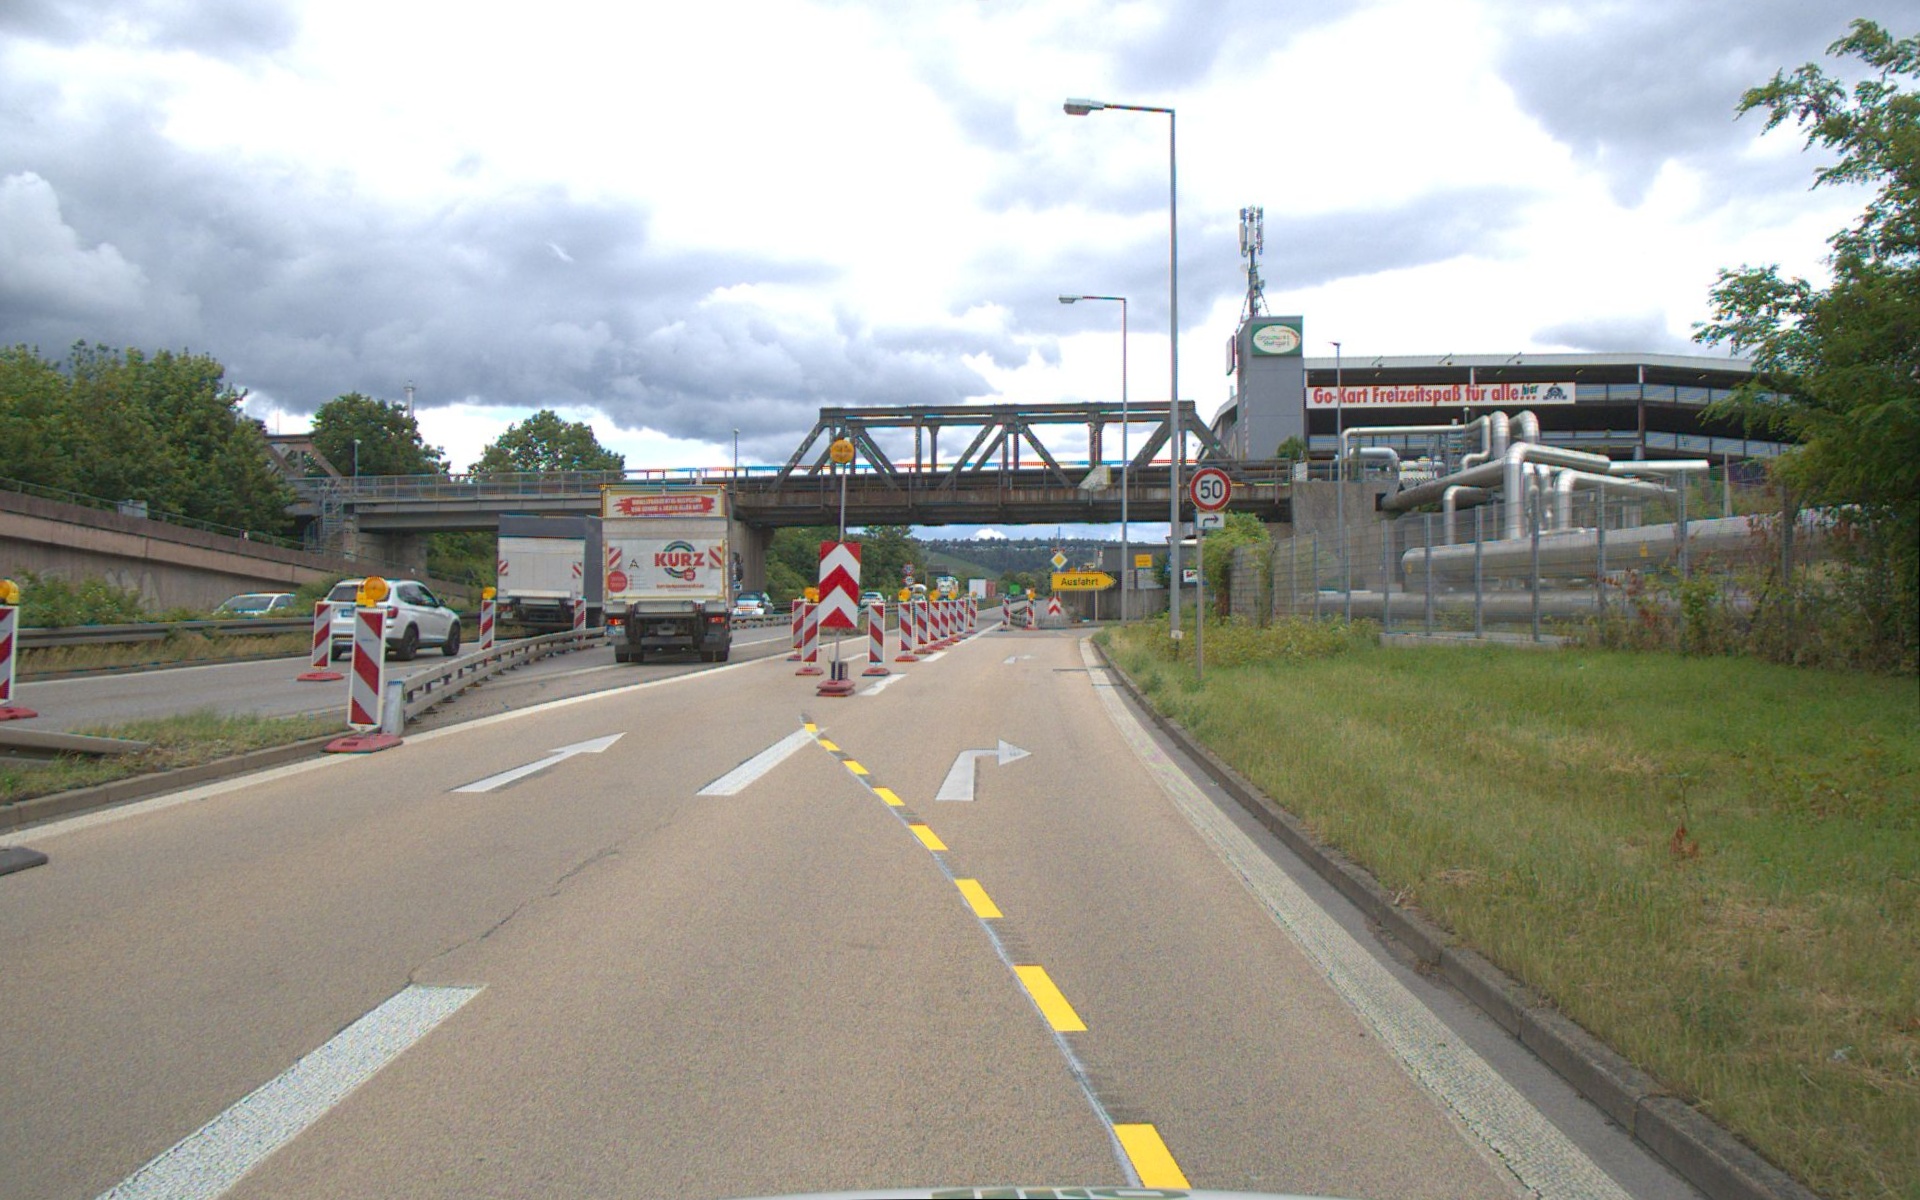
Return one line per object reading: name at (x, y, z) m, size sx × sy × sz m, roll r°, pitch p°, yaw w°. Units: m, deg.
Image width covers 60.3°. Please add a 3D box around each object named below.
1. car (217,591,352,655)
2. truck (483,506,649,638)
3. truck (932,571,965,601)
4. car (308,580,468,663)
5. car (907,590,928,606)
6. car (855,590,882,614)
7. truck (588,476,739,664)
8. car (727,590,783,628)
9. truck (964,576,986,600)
car at (-18.550, 0.625, 45.607) m, size 1.815 × 1.669 × 4.293 m, roll 0°, pitch 0°, yaw 2°
truck at (-11.657, -0.761, 49.738) m, size 2.932 × 3.619 × 7.741 m, roll -1°, pitch 0°, yaw 1°
truck at (-1.463, -1.791, 212.277) m, size 3.642 × 3.709 × 7.731 m, roll 0°, pitch 0°, yaw 4°
car at (-12.293, 0.451, 35.853) m, size 1.815 × 1.669 × 4.293 m, roll 0°, pitch 0°, yaw 2°
car at (-4.367, -0.182, 170.792) m, size 1.742 × 1.624 × 3.751 m, roll 0°, pitch 0°, yaw 4°
car at (-7.157, 0.119, 130.052) m, size 1.953 × 1.847 × 4.000 m, roll 0°, pitch 0°, yaw -1°
truck at (-6.527, -0.555, 37.746) m, size 2.897 × 3.693 × 10.136 m, roll 0°, pitch 0°, yaw -8°
car at (-9.948, 0.432, 80.457) m, size 1.951 × 1.790 × 4.002 m, roll -1°, pitch 0°, yaw 4°
truck at (2.150, -1.689, 231.816) m, size 2.625 × 3.195 × 6.135 m, roll 1°, pitch 1°, yaw 4°
